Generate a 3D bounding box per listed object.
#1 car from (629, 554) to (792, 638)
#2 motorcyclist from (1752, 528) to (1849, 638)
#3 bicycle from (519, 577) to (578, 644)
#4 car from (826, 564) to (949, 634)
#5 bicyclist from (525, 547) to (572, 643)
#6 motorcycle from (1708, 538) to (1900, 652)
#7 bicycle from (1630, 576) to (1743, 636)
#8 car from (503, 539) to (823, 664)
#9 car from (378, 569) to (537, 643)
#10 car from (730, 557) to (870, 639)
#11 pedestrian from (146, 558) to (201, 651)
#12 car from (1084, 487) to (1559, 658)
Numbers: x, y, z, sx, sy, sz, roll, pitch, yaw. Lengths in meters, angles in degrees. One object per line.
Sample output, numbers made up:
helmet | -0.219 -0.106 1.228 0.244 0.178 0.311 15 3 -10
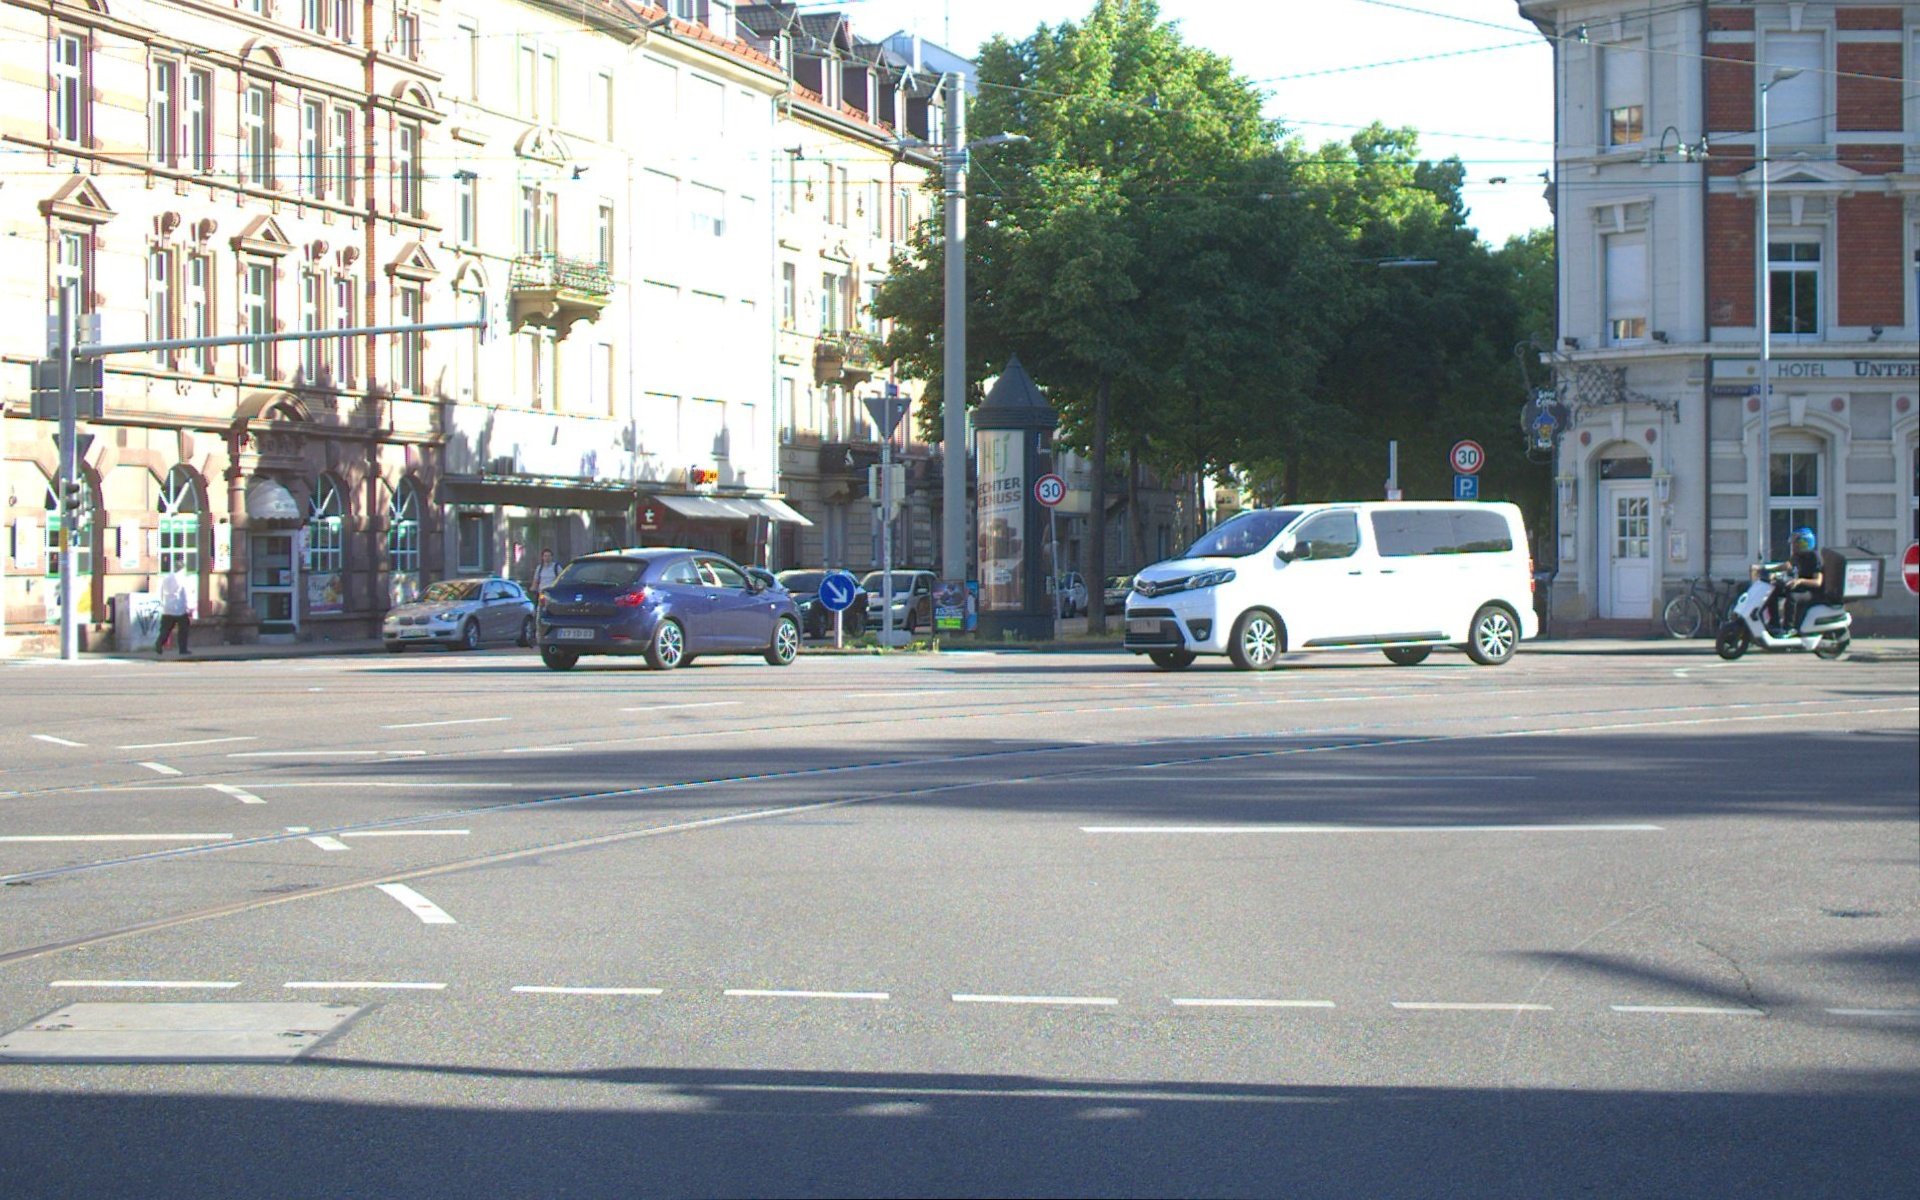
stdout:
car | -4.844 -0.090 67.251 1.804 1.579 4.156 1 1 17
motorcyclist | 10.134 -0.209 41.479 1.015 1.296 0.789 1 0 6
bicycle | -7.803 0.192 65.250 0.565 1.250 1.556 1 0 14
car | -1.643 -0.036 79.702 1.804 1.570 3.888 1 1 15
bicyclist | -7.807 -0.091 65.255 0.565 1.797 0.913 1 0 15
motorcycle | 10.171 -0.061 41.474 2.136 1.329 0.796 1 0 6
bicycle | 12.072 0.101 57.123 1.804 0.959 0.603 1 0 14
car | -3.443 -0.020 40.556 1.828 1.398 3.994 1 1 29
car | -9.775 0.104 67.080 1.661 1.369 3.889 1 1 15
car | -3.388 -0.059 73.513 1.826 1.679 3.872 1 1 16
pedestrian | -14.048 0.079 61.416 0.568 1.636 0.792 1 0 23
car | 4.164 -0.327 39.309 5.198 1.847 2.000 0 1 -29
